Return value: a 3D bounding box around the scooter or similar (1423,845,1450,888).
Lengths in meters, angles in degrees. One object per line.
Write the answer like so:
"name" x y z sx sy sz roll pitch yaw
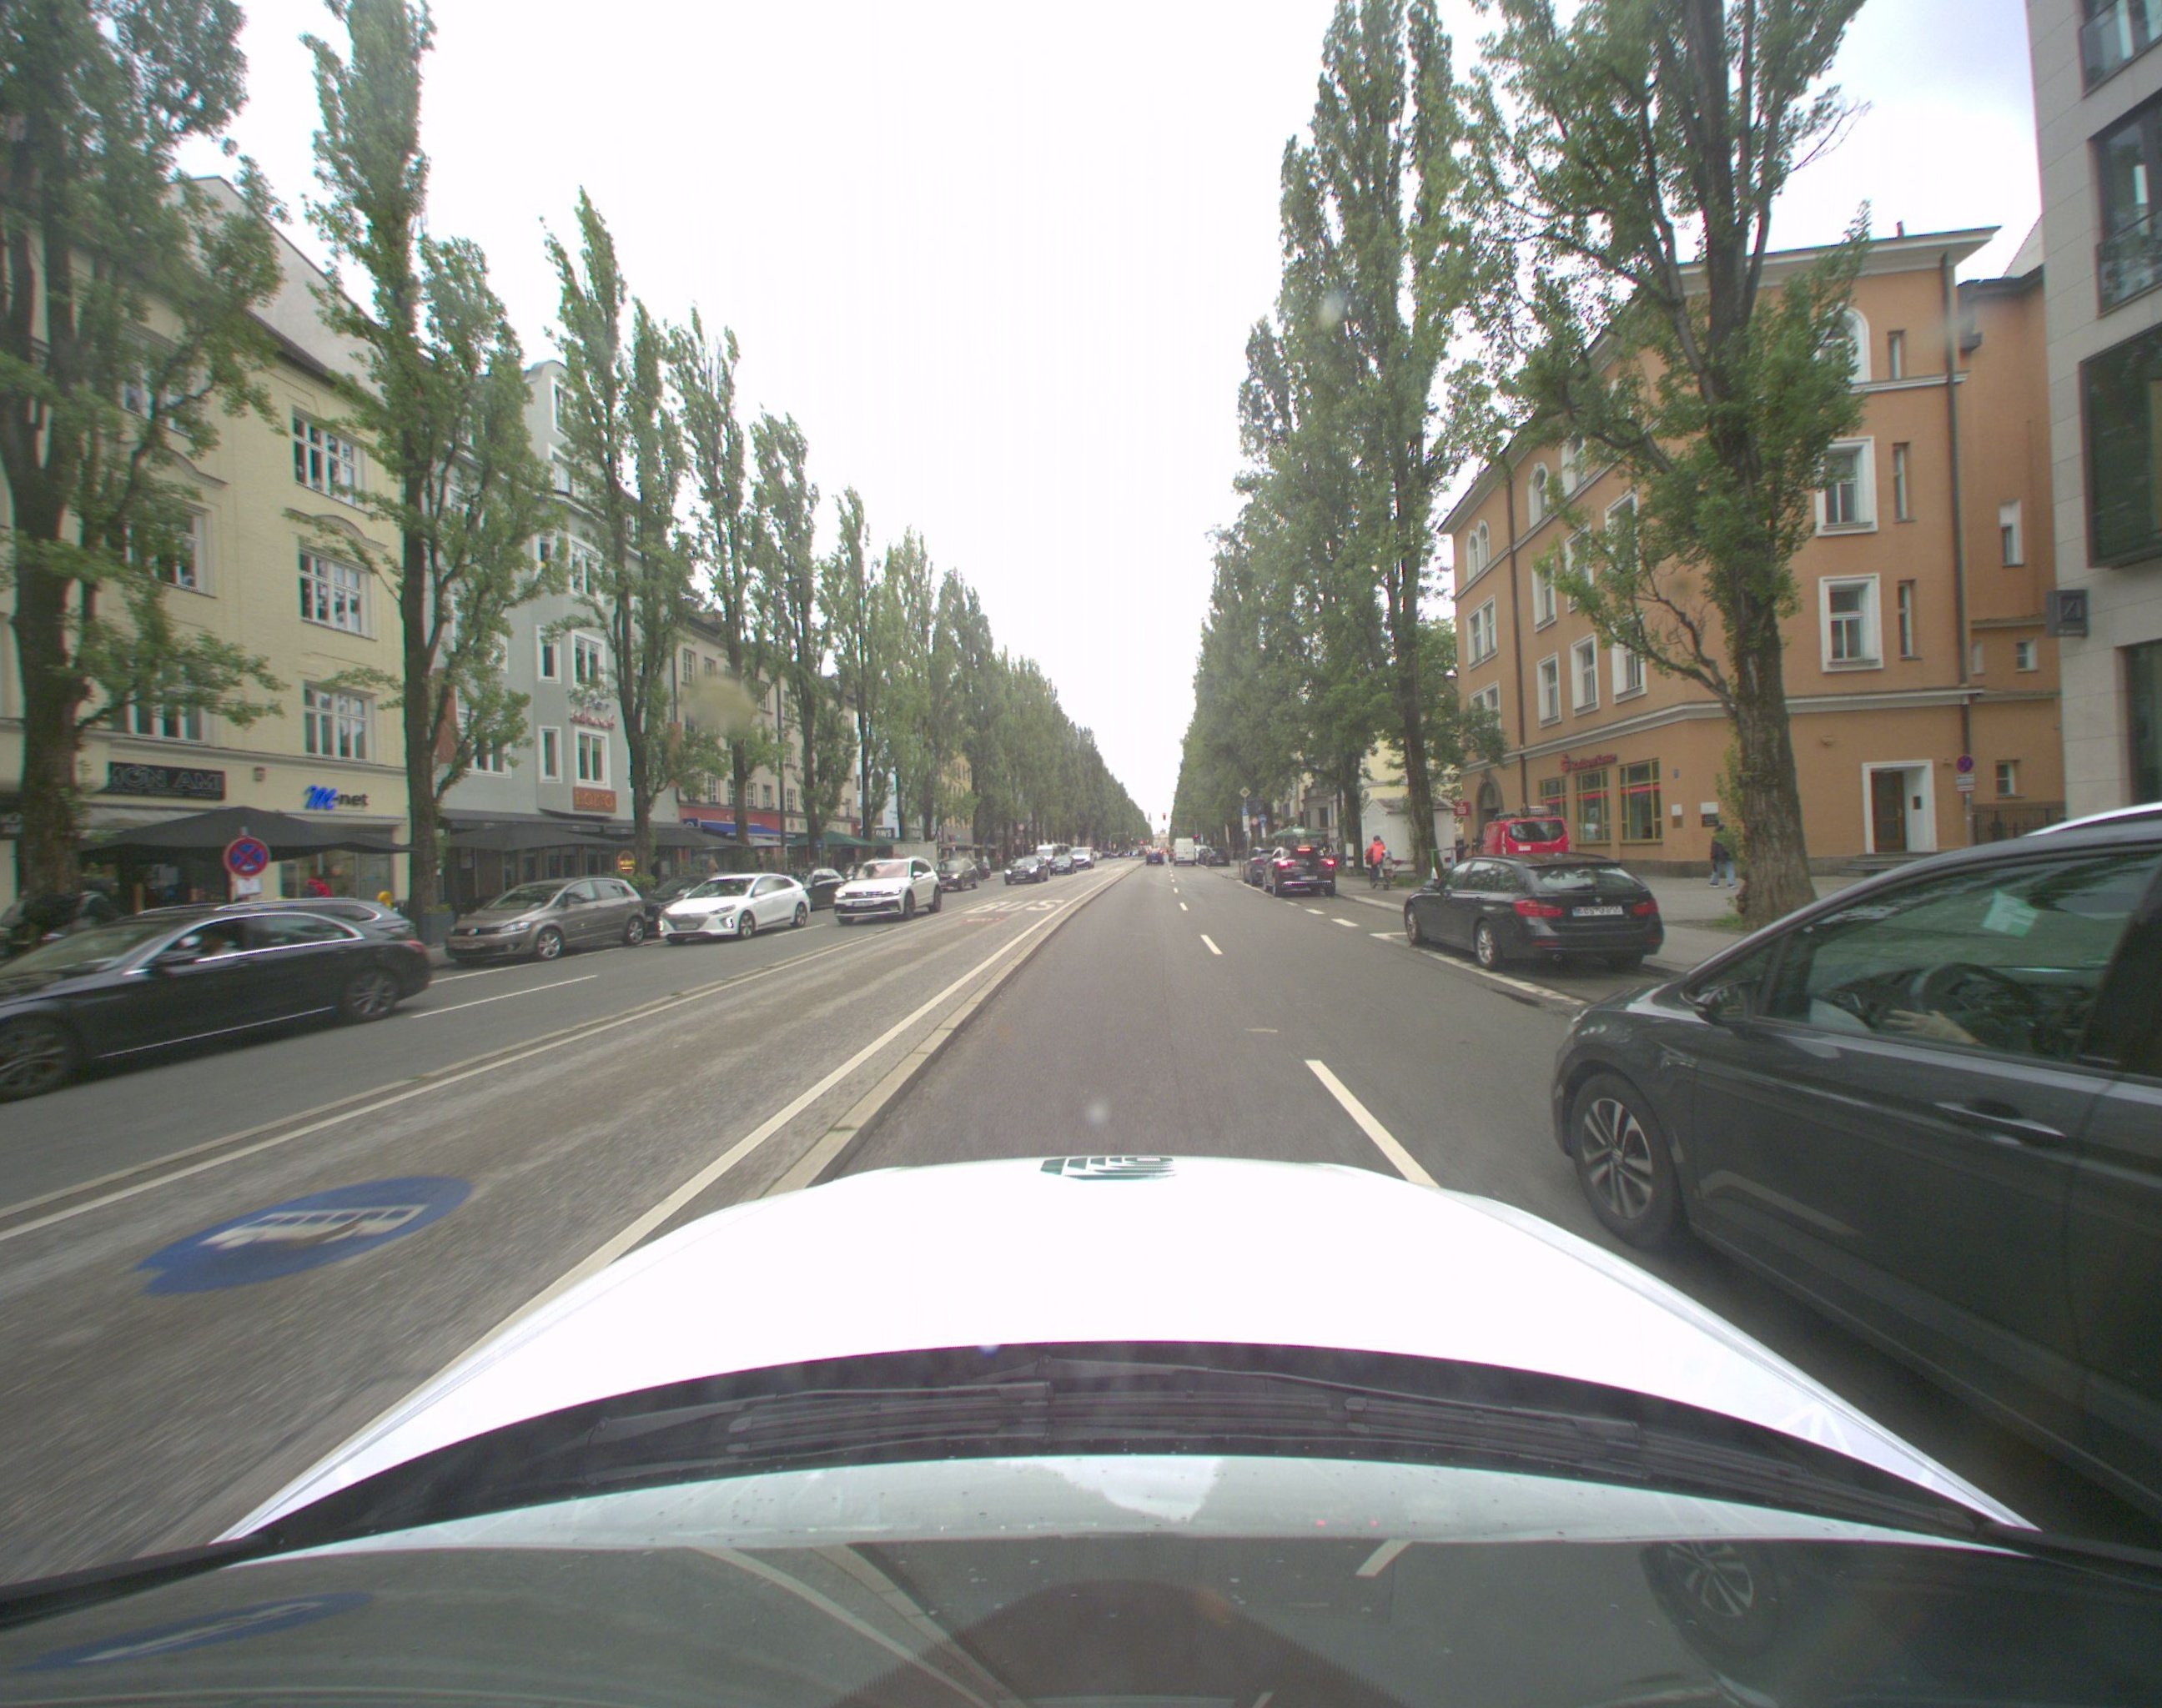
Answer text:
"scooter or similar" 11.068 0.375 25.384 0.521 1.232 1.484 -4 0 18

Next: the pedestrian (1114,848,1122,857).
"pedestrian" 7.846 -0.368 172.204 1.144 1.916 1.143 -3 0 -26

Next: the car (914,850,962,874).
"car" -8.132 0.424 46.626 1.801 1.250 3.705 -2 0 5

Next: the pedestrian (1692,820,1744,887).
"pedestrian" 15.414 -0.013 19.712 0.607 1.551 0.709 -3 0 -23

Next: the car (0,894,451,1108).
"car" -9.217 1.291 8.152 1.930 1.434 4.546 -3 0 6

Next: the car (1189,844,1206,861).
"car" 14.262 -0.210 99.624 1.796 1.992 4.006 -1 -1 5

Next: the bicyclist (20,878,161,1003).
"bicyclist" -13.652 1.153 11.259 0.494 1.580 1.108 -3 0 4

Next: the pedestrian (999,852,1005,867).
"pedestrian" -9.776 0.695 100.652 0.579 1.856 0.676 -2 0 4

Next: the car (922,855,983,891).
"car" -6.130 0.885 39.324 1.839 1.564 4.218 -3 -1 5

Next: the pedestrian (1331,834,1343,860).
"pedestrian" 18.100 -0.491 57.590 0.696 1.873 0.769 -1 -1 14

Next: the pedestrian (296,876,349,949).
"pedestrian" -18.724 1.426 20.121 0.536 1.747 0.756 -2 0 5

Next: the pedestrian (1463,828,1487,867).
"pedestrian" 16.593 -0.260 34.309 0.669 1.613 0.642 -3 0 8

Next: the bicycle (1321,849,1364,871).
"bicycle" 13.318 0.291 41.518 2.039 1.023 0.693 -2 0 12

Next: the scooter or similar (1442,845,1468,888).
"scooter or similar" 11.508 0.363 25.076 0.482 1.232 1.413 -4 0 18

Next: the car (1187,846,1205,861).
"car" 13.215 -0.020 93.643 1.754 1.596 4.006 -1 -1 5

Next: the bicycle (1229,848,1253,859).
"bicycle" 16.229 -0.052 82.574 0.763 1.023 2.708 -2 0 -29

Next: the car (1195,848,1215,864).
"car" 12.496 0.223 82.118 1.796 1.596 4.006 -1 -1 5

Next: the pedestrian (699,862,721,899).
"pedestrian" -17.502 1.242 38.410 0.635 1.700 0.649 -3 0 5

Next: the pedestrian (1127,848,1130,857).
"pedestrian" 9.405 -0.302 161.495 0.550 1.716 0.494 -3 0 6

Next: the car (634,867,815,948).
"car" -8.141 1.152 19.140 1.930 1.493 4.462 -3 0 5

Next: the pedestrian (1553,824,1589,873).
"pedestrian" 16.523 -0.186 27.491 0.726 1.626 0.806 -3 0 6

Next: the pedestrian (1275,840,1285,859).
"pedestrian" 18.900 -0.418 77.376 0.807 1.755 0.937 -3 0 15

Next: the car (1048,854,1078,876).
"car" -1.224 0.763 58.388 1.704 1.414 3.728 -3 0 5

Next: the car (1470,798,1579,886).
"car" 13.332 -0.360 24.798 1.886 2.328 4.846 -3 0 17

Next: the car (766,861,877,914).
"car" -9.437 1.151 30.101 1.983 1.596 4.900 -3 0 6

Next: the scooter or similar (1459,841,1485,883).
"scooter or similar" 12.039 0.232 25.114 0.482 1.232 1.173 -4 0 18

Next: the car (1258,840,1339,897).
"car" 6.989 0.414 26.605 1.871 1.642 4.592 -3 0 7

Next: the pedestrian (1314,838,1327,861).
"pedestrian" 19.752 -0.354 67.166 0.757 1.853 0.741 -3 0 2

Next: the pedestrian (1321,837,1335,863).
"pedestrian" 16.239 -0.272 53.572 0.662 1.650 0.630 -2 0 32

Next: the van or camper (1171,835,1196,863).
"van or camper" 9.564 -0.446 76.234 2.025 2.475 4.005 -2 -1 5

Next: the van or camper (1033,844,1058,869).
"van or camper" -3.802 0.249 87.235 1.984 2.458 4.257 -2 0 5

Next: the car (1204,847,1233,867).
"car" 11.326 0.216 67.335 1.935 1.467 4.005 -3 0 4

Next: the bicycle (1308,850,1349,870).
"bicycle" 13.514 0.319 44.518 2.056 1.023 0.688 -2 0 -14

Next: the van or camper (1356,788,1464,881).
"van or camper" 12.232 -0.697 30.651 2.448 3.112 4.724 -3 0 6

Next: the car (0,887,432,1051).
"car" -11.488 1.341 10.827 1.929 1.493 4.303 -3 0 6

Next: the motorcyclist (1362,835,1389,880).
"motorcyclist" 9.495 0.101 26.279 0.562 1.406 0.766 -3 0 2

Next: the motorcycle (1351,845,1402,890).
"motorcycle" 9.492 0.414 26.259 0.823 1.370 2.253 -3 0 2

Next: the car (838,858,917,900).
"car" -8.833 1.060 35.758 1.839 1.564 4.341 -3 1 7

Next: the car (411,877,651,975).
"car" -10.860 1.337 16.499 1.795 1.519 4.007 -3 0 6

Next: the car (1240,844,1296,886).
"car" 7.719 0.419 33.980 1.616 1.565 4.377 -2 0 5

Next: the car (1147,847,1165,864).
"car" 7.462 0.172 80.583 1.750 1.619 3.753 -1 -1 6

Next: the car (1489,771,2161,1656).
"car" 2.843 0.637 1.886 1.755 1.613 4.185 -1 0 1

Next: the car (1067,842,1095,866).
"car" 0.022 -0.015 73.554 1.984 1.934 4.925 -4 -1 5

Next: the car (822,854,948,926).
"car" -5.157 0.880 22.098 1.930 1.642 4.469 -3 0 5

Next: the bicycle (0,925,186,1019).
"bicycle" -13.612 1.579 11.203 0.507 1.006 1.769 -3 0 4

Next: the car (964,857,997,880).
"car" -6.754 0.961 54.775 1.505 1.344 3.241 -3 0 5

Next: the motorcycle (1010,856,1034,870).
"motorcycle" -5.350 0.834 74.017 1.230 1.140 3.728 -2 0 10

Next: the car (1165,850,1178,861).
"car" 10.814 0.171 97.577 1.496 1.313 3.288 -2 0 5

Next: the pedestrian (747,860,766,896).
"pedestrian" -17.239 1.277 43.271 0.635 1.862 0.649 -3 0 5

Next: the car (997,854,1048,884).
"car" -3.137 0.788 44.599 1.984 1.432 4.779 -3 0 5

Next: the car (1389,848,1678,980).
"car" 5.881 0.663 11.304 1.726 1.394 4.437 -3 0 4

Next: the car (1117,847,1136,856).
"car" 10.291 -0.580 183.978 3.975 1.745 1.999 -3 0 -1

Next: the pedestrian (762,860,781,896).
"pedestrian" -16.504 1.267 43.377 0.635 1.862 0.649 -3 0 5

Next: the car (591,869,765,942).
"car" -10.380 1.263 21.407 1.983 1.482 4.328 -3 0 6

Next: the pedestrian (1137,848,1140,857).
"pedestrian" 11.383 -0.255 161.207 0.550 1.716 0.494 -3 0 6

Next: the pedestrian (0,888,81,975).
"pedestrian" -20.127 1.476 15.693 0.630 1.561 0.817 -2 0 6

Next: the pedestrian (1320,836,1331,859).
"pedestrian" 17.254 -0.448 57.486 0.643 1.647 0.769 -1 -1 14

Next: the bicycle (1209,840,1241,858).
"bicycle" 16.613 -0.609 93.928 3.523 2.014 1.302 -1 -1 14

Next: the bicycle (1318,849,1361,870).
"bicycle" 13.732 0.303 43.295 2.050 1.023 0.690 -2 0 -6
